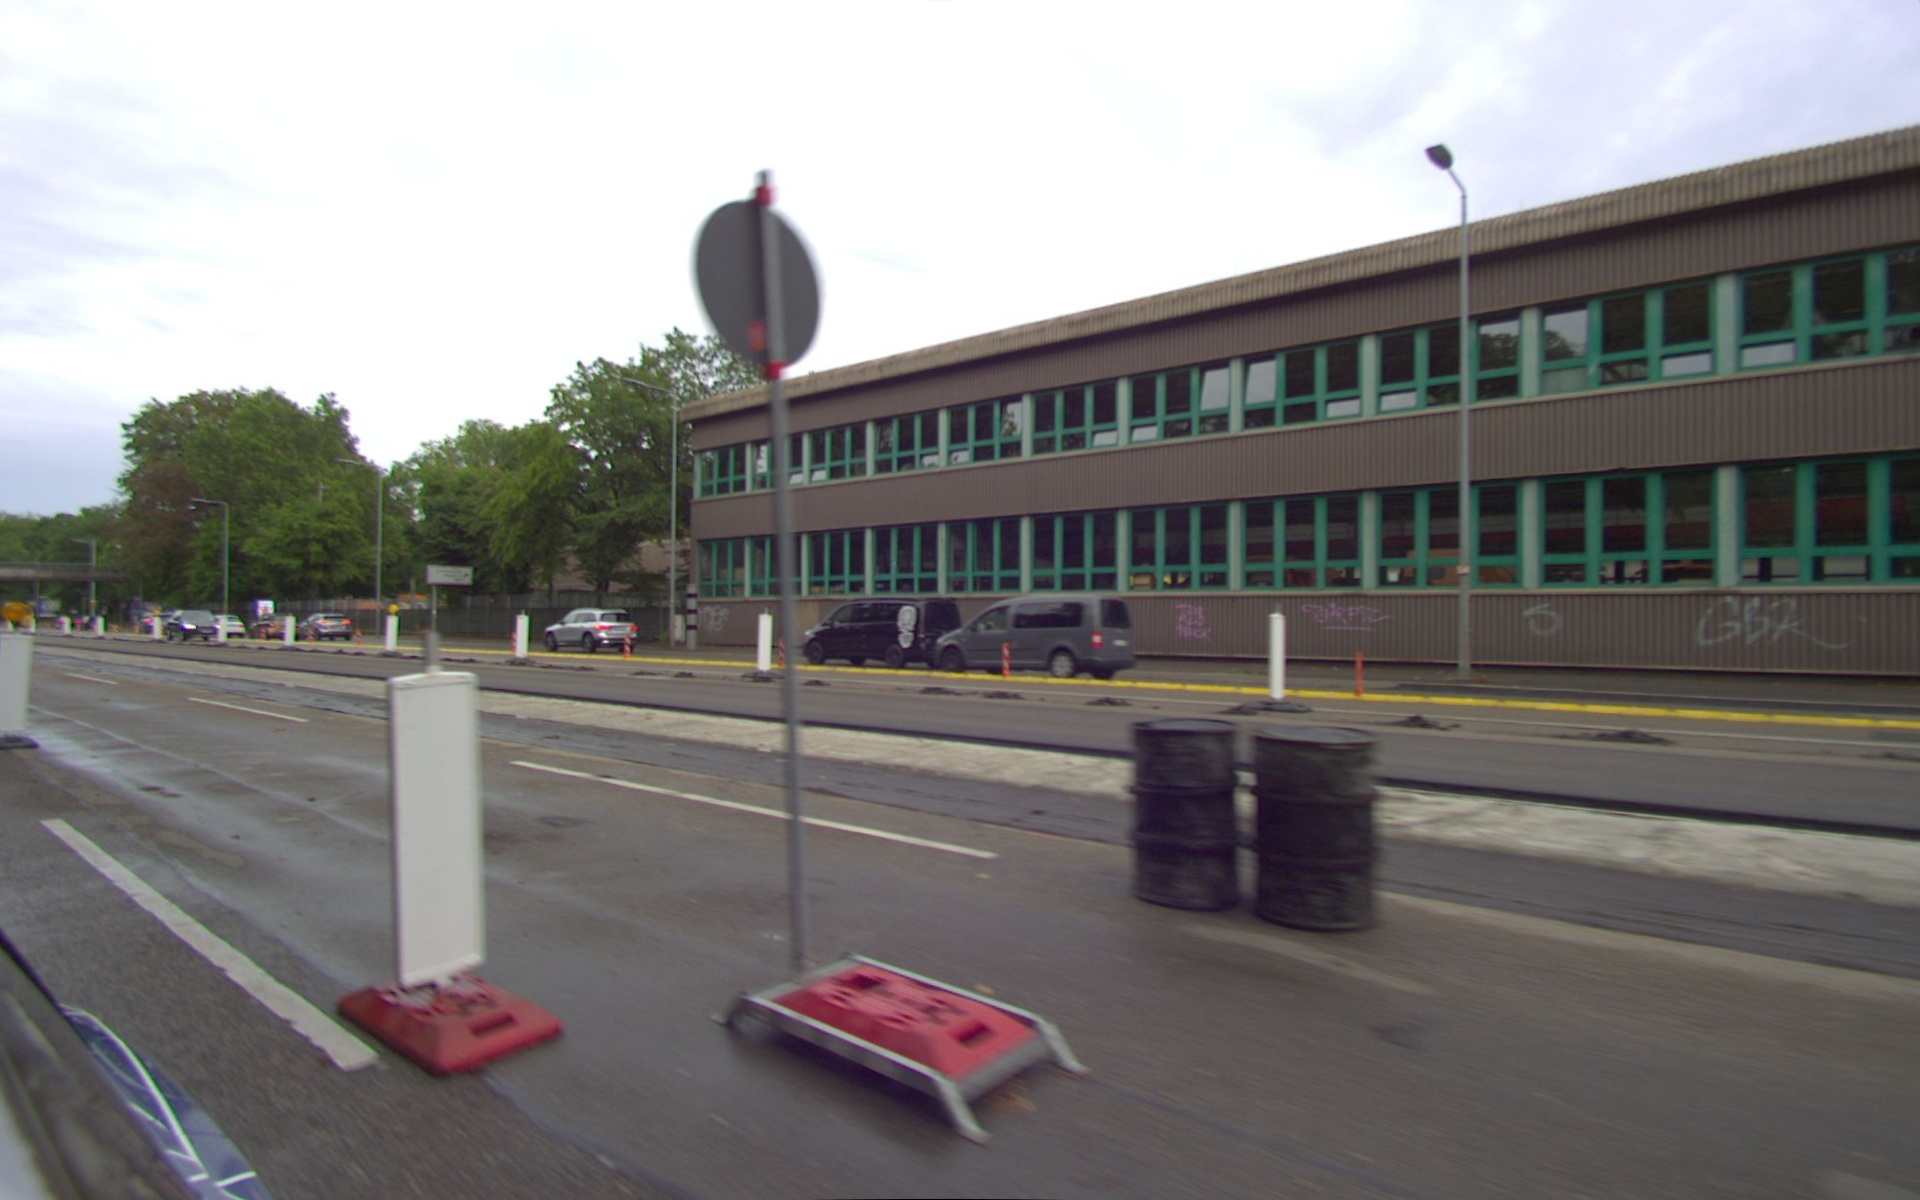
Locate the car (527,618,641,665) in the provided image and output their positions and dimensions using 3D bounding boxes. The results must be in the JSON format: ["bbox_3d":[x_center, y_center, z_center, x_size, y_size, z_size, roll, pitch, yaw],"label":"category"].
[{"bbox_3d":[-14.583,1.550,39.146,4.930,1.719,1.918,-1,-1,39],"label":"car"}]

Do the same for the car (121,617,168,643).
[{"bbox_3d":[-58.973,2.151,73.168,4.673,1.781,1.968,-1,-1,42],"label":"car"}]

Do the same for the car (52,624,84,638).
[{"bbox_3d":[-97.270,3.401,110.309,4.260,1.440,1.974,-2,-1,39],"label":"car"}]

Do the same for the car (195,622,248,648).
[{"bbox_3d":[-46.350,2.171,63.485,3.989,1.546,1.785,-1,-1,40],"label":"car"}]

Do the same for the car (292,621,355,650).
[{"bbox_3d":[-37.165,2.035,59.087,4.176,1.598,1.973,-1,-1,40],"label":"car"}]

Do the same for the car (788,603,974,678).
[{"bbox_3d":[-2.307,1.076,28.545,5.359,1.933,1.974,-1,-1,39],"label":"car"}]

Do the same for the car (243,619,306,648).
[{"bbox_3d":[-37.838,1.829,55.855,4.515,1.513,1.874,-1,-1,42],"label":"car"}]

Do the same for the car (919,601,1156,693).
[{"bbox_3d":[1.616,0.952,22.219,4.948,1.794,1.974,-1,-1,39],"label":"car"}]
